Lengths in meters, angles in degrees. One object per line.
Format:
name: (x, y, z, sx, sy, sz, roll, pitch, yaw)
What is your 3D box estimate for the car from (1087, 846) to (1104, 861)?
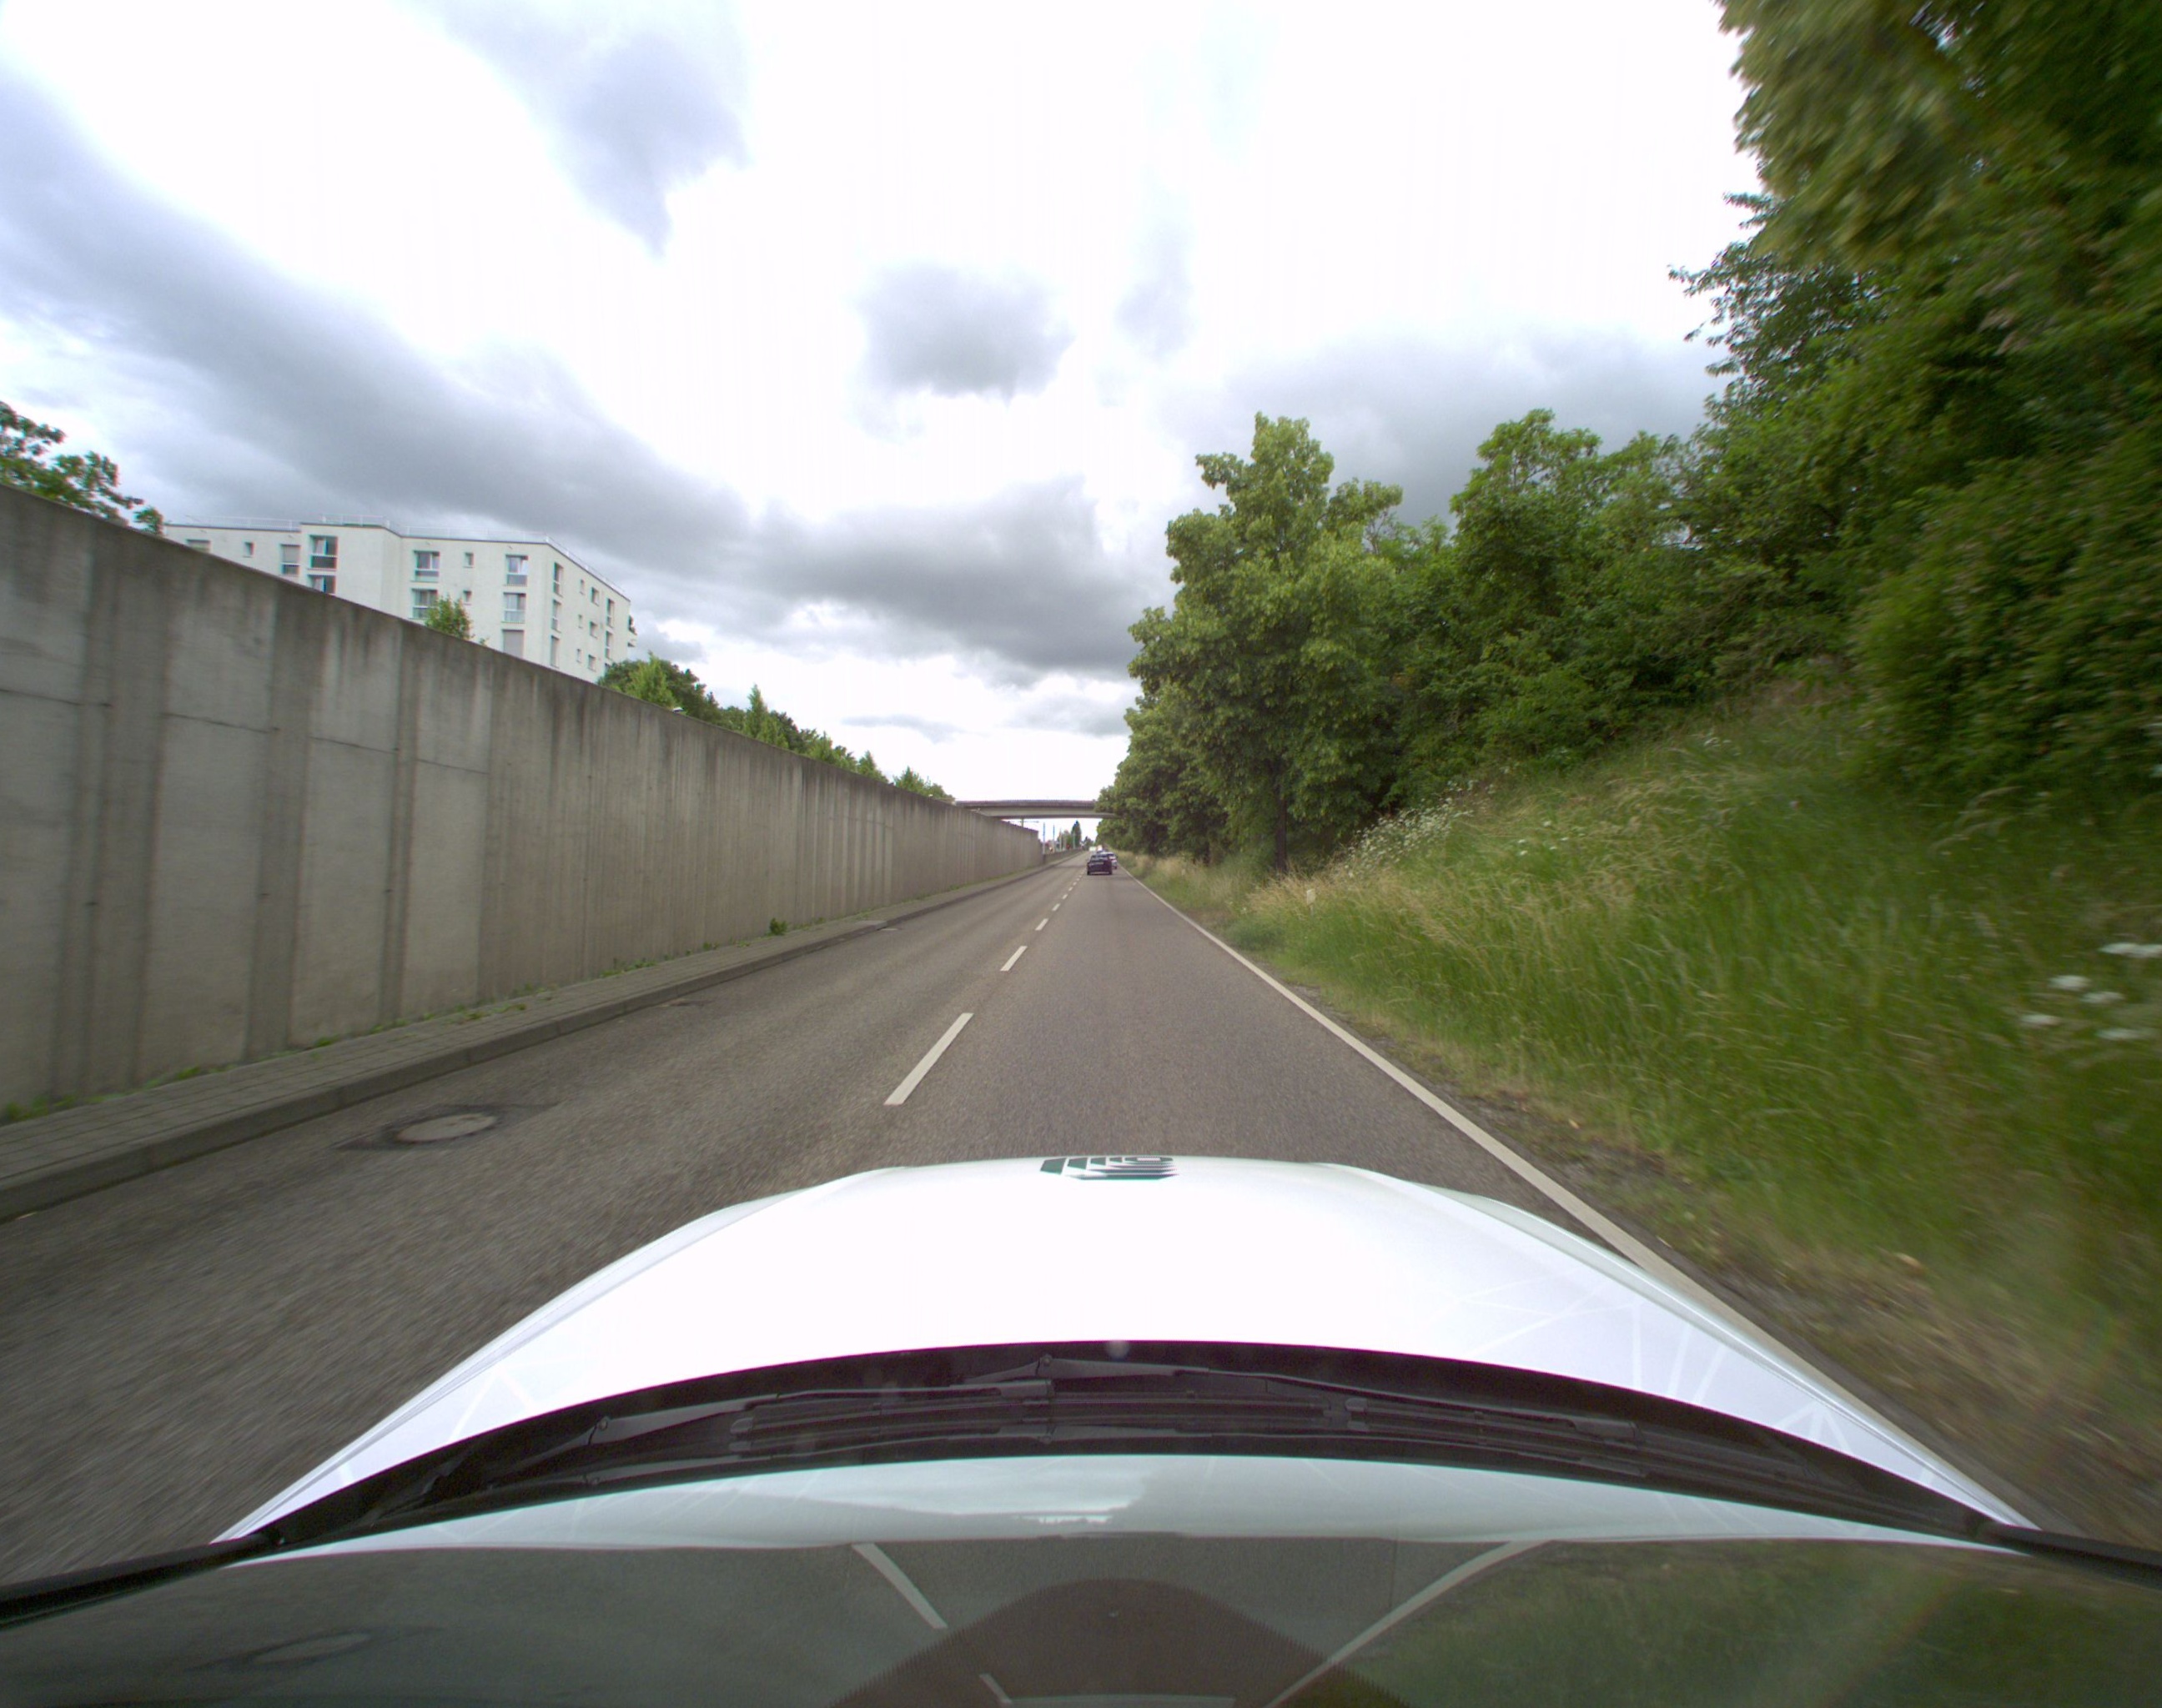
car: (1.748, -0.037, 96.482, 1.986, 1.740, 4.001, 0, -1, 1)

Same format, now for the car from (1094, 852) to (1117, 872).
car: (2.173, 0.697, 71.778, 1.986, 1.753, 4.001, 0, 0, 1)

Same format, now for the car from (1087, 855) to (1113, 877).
car: (1.350, 0.798, 56.885, 1.775, 1.468, 4.001, 0, 0, 1)
